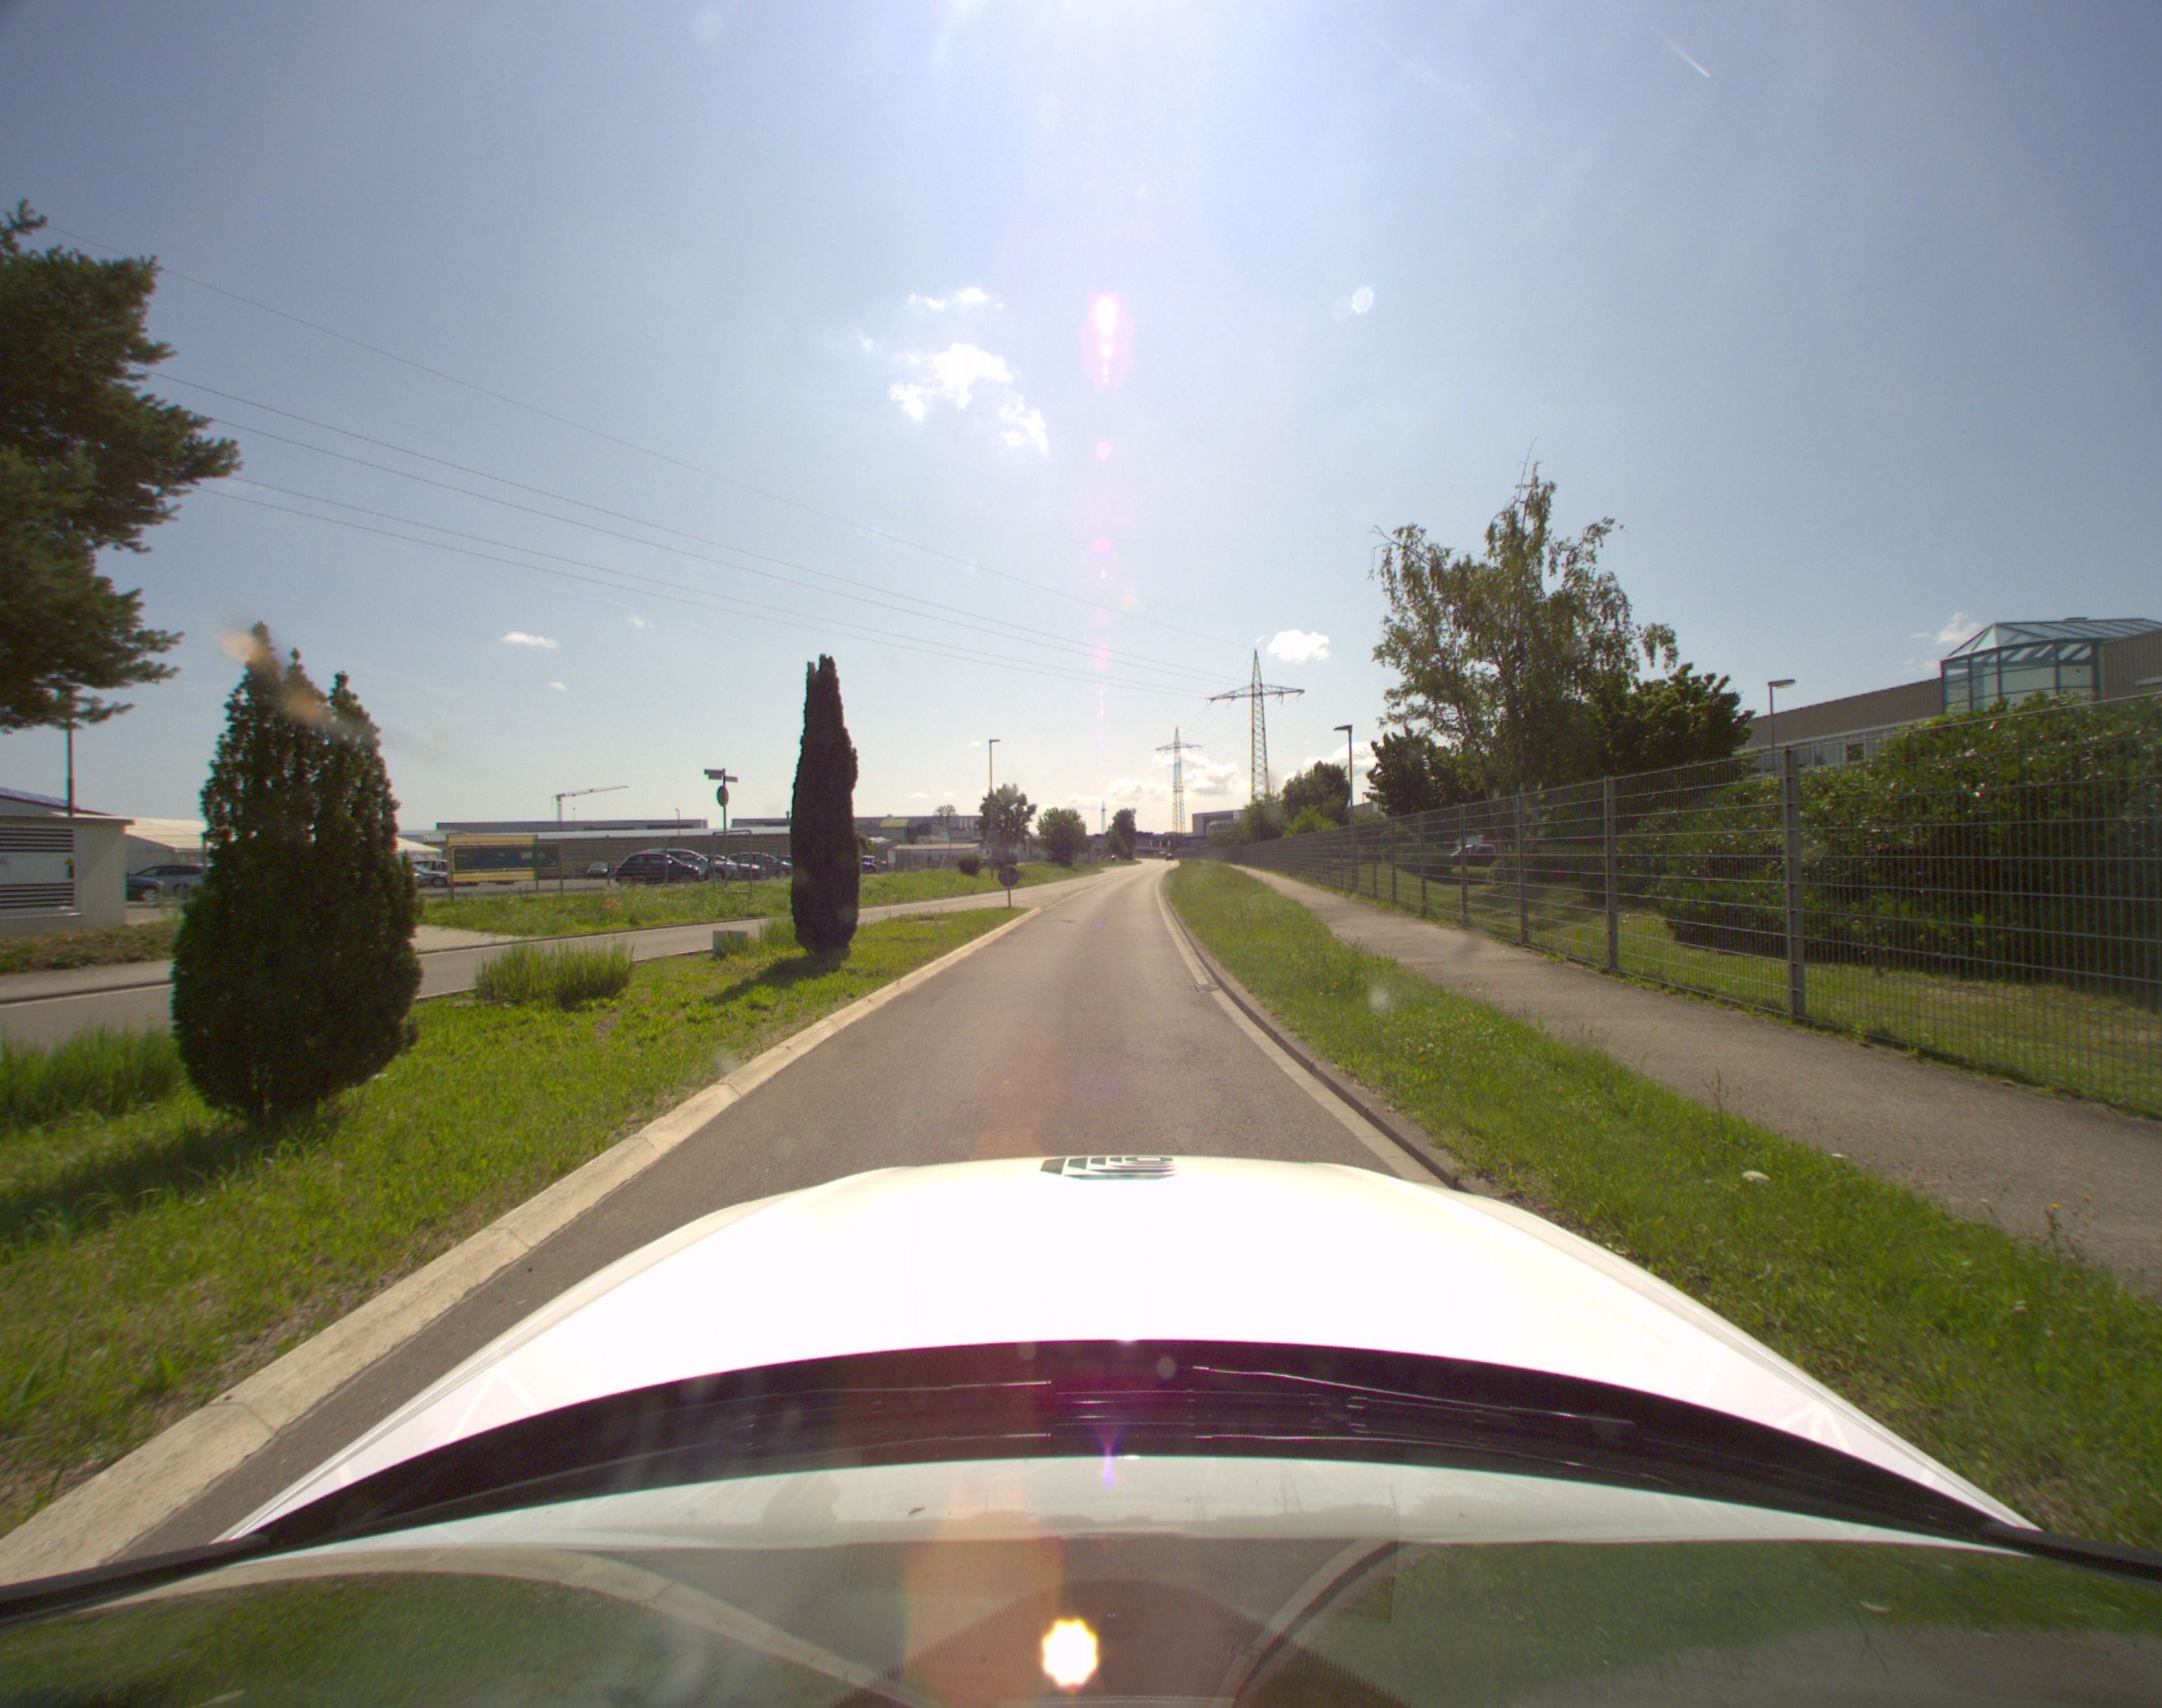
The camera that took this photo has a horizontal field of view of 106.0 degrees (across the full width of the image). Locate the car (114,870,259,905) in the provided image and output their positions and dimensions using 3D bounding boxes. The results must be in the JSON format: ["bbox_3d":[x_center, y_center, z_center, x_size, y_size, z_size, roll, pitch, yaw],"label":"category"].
[{"bbox_3d":[-36.963,1.367,33.718,3.968,1.310,2.003,-1,0,4],"label":"car"}]

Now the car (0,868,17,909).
[{"bbox_3d":[-38.592,1.221,26.754,1.911,1.433,4.004,-1,0,3],"label":"car"}]

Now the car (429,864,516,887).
[{"bbox_3d":[-37.732,1.321,50.651,4.008,1.310,1.926,-1,0,-26],"label":"car"}]

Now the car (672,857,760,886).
[{"bbox_3d":[-18.613,0.872,41.550,4.008,1.310,1.926,-1,-1,-26],"label":"car"}]

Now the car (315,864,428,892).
[{"bbox_3d":[-36.450,1.197,41.961,4.008,1.310,1.926,-1,0,-26],"label":"car"}]

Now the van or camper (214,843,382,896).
[{"bbox_3d":[-36.835,0.687,38.529,5.350,2.375,1.878,-1,-1,-26],"label":"van or camper"}]

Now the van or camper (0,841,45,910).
[{"bbox_3d":[-41.627,0.829,28.440,1.985,2.599,6.776,-1,0,3],"label":"van or camper"}]

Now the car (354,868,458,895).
[{"bbox_3d":[-36.750,1.463,44.451,4.008,1.310,1.926,-1,0,-26],"label":"car"}]

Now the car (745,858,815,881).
[{"bbox_3d":[-18.892,0.985,51.059,4.006,1.310,1.927,-1,-1,-24],"label":"car"}]

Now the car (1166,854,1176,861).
[{"bbox_3d":[20.673,0.807,187.110,2.003,1.508,4.005,-1,0,4],"label":"car"}]

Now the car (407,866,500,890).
[{"bbox_3d":[-36.732,1.374,47.817,4.008,1.310,1.926,-1,0,-26],"label":"car"}]

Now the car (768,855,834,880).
[{"bbox_3d":[-18.836,0.875,54.780,4.008,1.540,1.926,-1,0,-26],"label":"car"}]

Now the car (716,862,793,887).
[{"bbox_3d":[-19.039,1.160,47.485,4.008,1.310,1.926,-1,0,-26],"label":"car"}]

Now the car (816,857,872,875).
[{"bbox_3d":[-18.789,0.961,64.460,4.008,1.310,1.926,-1,0,-26],"label":"car"}]

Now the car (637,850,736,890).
[{"bbox_3d":[-18.530,0.727,38.369,4.117,1.704,1.708,-1,-1,-26],"label":"car"}]

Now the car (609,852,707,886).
[{"bbox_3d":[-18.384,0.637,35.527,3.571,1.401,1.788,-1,-1,-21],"label":"car"}]
